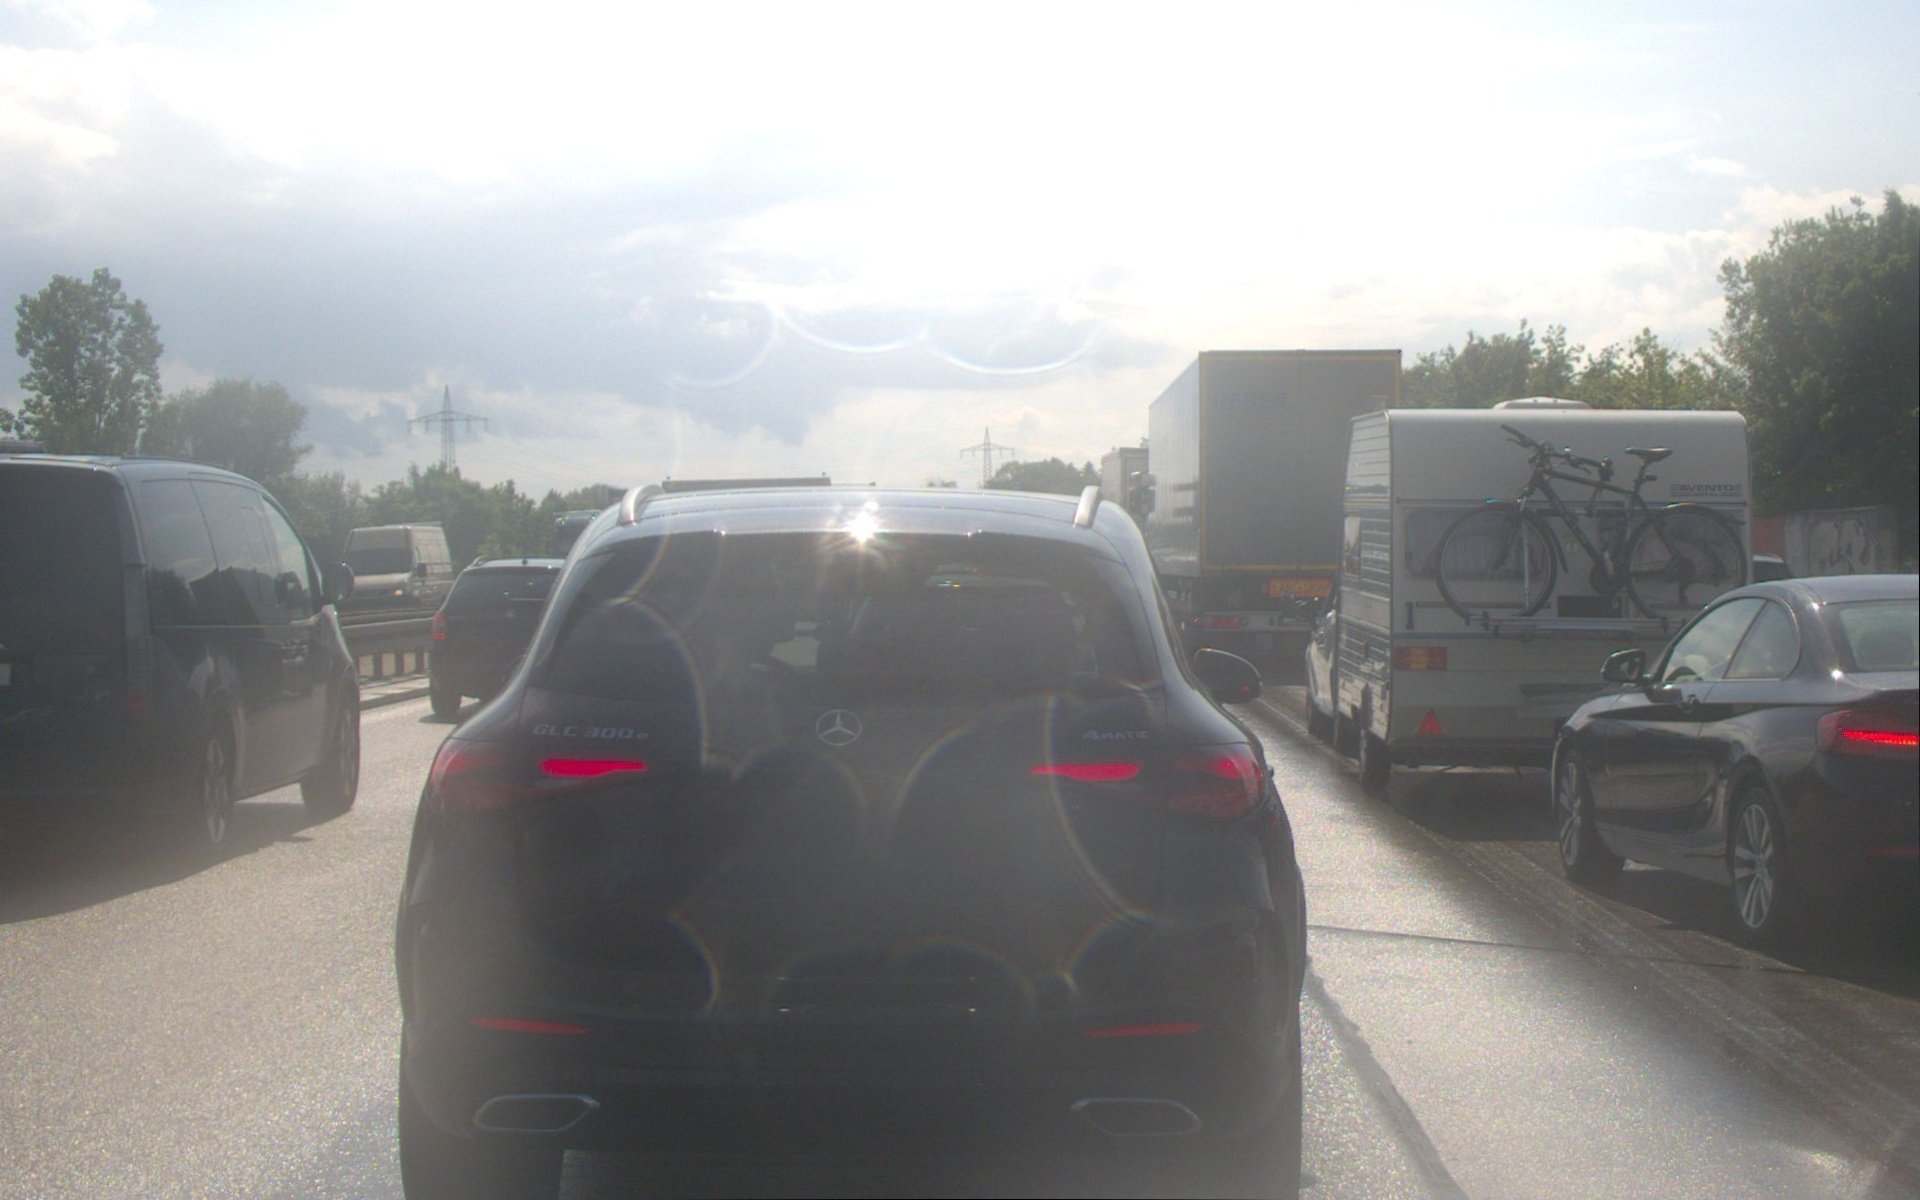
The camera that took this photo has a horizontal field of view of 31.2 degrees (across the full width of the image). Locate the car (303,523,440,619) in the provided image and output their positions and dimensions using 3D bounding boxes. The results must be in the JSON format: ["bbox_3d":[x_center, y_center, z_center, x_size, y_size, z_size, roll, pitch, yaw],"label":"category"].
[{"bbox_3d":[-14.200,-0.749,83.317,1.993,2.200,6.980,1,1,1],"label":"car"}]

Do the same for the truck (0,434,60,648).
[{"bbox_3d":[-18.651,-1.067,60.834,2.848,3.839,9.422,0,0,1],"label":"truck"}]

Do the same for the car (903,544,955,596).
[{"bbox_3d":[-1.312,-1.273,144.006,1.993,2.007,4.000,4,1,-1],"label":"car"}]

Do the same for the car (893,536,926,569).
[{"bbox_3d":[-3.208,-2.997,218.118,1.993,2.007,4.000,1,1,-1],"label":"car"}]

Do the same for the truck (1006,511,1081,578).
[{"bbox_3d":[5.102,-3.395,212.840,3.842,4.003,11.222,1,1,-3],"label":"truck"}]

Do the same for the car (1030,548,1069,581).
[{"bbox_3d":[4.856,-1.917,186.260,1.876,1.754,4.000,1,1,-1],"label":"car"}]

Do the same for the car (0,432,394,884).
[{"bbox_3d":[-4.435,0.217,17.926,1.993,2.007,5.269,0,1,1],"label":"car"}]

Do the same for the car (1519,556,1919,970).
[{"bbox_3d":[3.798,0.550,14.356,1.848,1.459,4.256,-1,1,-6],"label":"car"}]

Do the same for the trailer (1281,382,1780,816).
[{"bbox_3d":[3.604,-0.039,23.176,2.374,2.475,6.523,1,1,1],"label":"trailer"}]

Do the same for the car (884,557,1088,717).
[{"bbox_3d":[0.288,0.311,32.811,1.806,1.402,4.000,1,1,2],"label":"car"}]

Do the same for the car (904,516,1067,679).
[{"bbox_3d":[0.375,-0.057,45.100,1.993,2.007,4.000,1,1,2],"label":"car"}]

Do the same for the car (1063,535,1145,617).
[{"bbox_3d":[3.706,-0.623,88.582,1.994,2.007,4.000,2,1,2],"label":"car"}]

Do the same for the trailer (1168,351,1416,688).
[{"bbox_3d":[4.375,-1.056,46.923,3.007,4.152,8.535,1,1,3],"label":"trailer"}]

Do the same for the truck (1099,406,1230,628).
[{"bbox_3d":[4.619,-1.861,78.911,2.502,4.813,7.543,1,1,0],"label":"truck"}]

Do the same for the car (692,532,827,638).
[{"bbox_3d":[-3.540,-0.281,61.425,1.994,1.766,4.000,2,1,2],"label":"car"}]

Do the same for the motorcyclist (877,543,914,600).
[{"bbox_3d":[-1.960,-0.861,104.531,1.064,1.712,0.785,0,0,2],"label":"motorcyclist"}]

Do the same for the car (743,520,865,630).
[{"bbox_3d":[-3.089,-0.517,68.928,1.994,2.007,4.000,4,1,2],"label":"car"}]

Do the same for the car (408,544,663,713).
[{"bbox_3d":[-3.976,0.223,32.815,1.757,1.511,4.208,0,1,2],"label":"car"}]

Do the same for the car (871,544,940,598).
[{"bbox_3d":[-1.792,-0.972,114.251,1.994,1.610,4.000,4,1,2],"label":"car"}]

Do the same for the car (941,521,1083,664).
[{"bbox_3d":[0.846,-0.135,53.456,1.994,2.007,4.000,4,1,2],"label":"car"}]

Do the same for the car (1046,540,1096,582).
[{"bbox_3d":[4.726,-1.655,146.554,1.876,1.754,4.000,1,1,-1],"label":"car"}]

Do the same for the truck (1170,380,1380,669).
[{"bbox_3d":[4.729,-1.129,52.511,2.995,4.152,5.239,1,1,4],"label":"truck"}]

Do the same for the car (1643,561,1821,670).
[{"bbox_3d":[11.645,0.202,52.092,1.848,1.563,4.000,1,1,1],"label":"car"}]

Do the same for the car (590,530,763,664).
[{"bbox_3d":[-3.795,-0.060,46.575,1.993,1.714,4.000,1,1,0],"label":"car"}]

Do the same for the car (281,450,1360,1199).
[{"bbox_3d":[-0.215,0.531,8.559,1.993,1.656,4.406,0,1,1],"label":"car"}]

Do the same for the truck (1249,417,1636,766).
[{"bbox_3d":[3.698,-0.092,27.517,2.374,2.468,5.756,1,1,1],"label":"truck"}]

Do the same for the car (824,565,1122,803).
[{"bbox_3d":[0.151,0.475,22.253,1.757,1.382,3.945,0,1,2],"label":"car"}]

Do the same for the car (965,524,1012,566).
[{"bbox_3d":[1.228,-2.391,149.960,1.876,1.754,4.000,1,1,-1],"label":"car"}]

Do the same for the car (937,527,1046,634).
[{"bbox_3d":[0.646,-0.397,67.397,1.993,2.007,4.000,1,1,2],"label":"car"}]

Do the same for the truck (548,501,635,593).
[{"bbox_3d":[-17.087,-2.430,159.825,3.005,4.089,7.686,-1,1,1],"label":"truck"}]
